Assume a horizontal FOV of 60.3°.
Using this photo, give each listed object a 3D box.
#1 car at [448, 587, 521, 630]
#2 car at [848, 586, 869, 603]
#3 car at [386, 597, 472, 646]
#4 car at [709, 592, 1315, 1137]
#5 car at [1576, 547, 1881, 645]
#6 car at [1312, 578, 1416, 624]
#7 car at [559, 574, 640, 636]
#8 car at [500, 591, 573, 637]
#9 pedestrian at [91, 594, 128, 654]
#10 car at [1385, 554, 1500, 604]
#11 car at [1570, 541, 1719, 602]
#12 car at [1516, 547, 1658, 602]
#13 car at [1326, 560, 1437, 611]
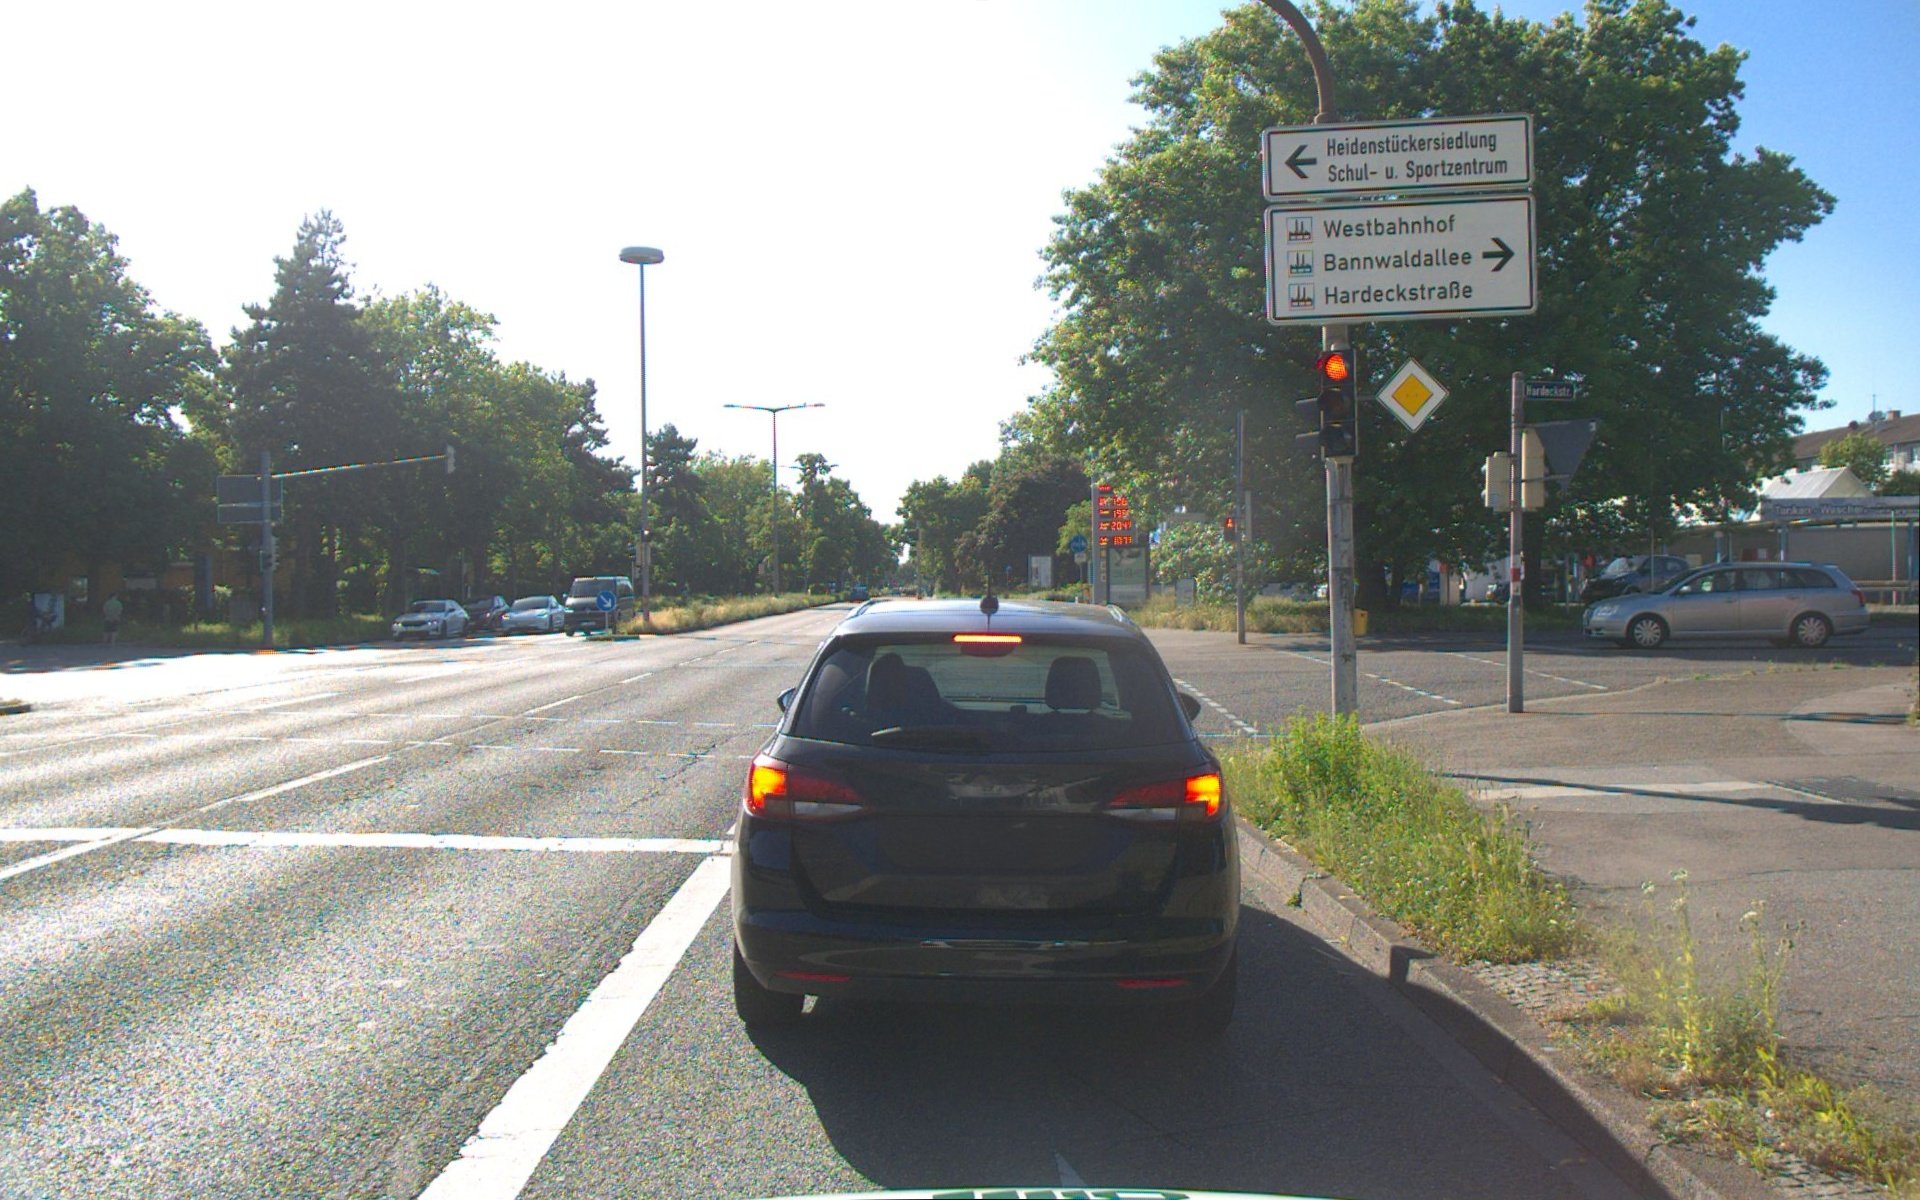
[{"bbox_3d":[-20.094,0.352,70.047,1.953,1.780,3.999,0,0,-1],"label":"car"},{"bbox_3d":[-9.715,-0.545,158.614,1.850,1.579,3.999,-1,0,-1],"label":"car"},{"bbox_3d":[-19.694,0.773,61.512,1.826,1.713,4.259,1,0,-1],"label":"car"},{"bbox_3d":[0.116,0.751,6.598,1.720,1.535,3.807,0,0,-1],"label":"car"},{"bbox_3d":[13.489,-0.053,29.302,4.519,1.601,2.002,-1,-1,10],"label":"car"},{"bbox_3d":[15.925,0.046,65.238,3.638,1.714,1.703,1,0,-4],"label":"car"},{"bbox_3d":[-12.608,0.176,58.030,1.953,2.049,3.999,1,0,-1],"label":"car"},{"bbox_3d":[-16.426,0.533,64.298,1.826,1.713,3.999,1,0,-1],"label":"car"},{"bbox_3d":[-26.850,0.754,52.242,0.828,1.867,0.550,-1,0,3],"label":"pedestrian"},{"bbox_3d":[16.639,-0.721,56.981,3.800,1.590,1.785,1,0,-33],"label":"car"},{"bbox_3d":[19.857,-0.802,48.005,3.779,1.640,1.794,1,0,-20],"label":"car"},{"bbox_3d":[18.957,-0.749,50.038,3.779,1.508,1.794,1,0,-20],"label":"car"},{"bbox_3d":[15.123,-0.501,59.265,3.668,1.714,1.689,1,0,-28],"label":"car"}]
